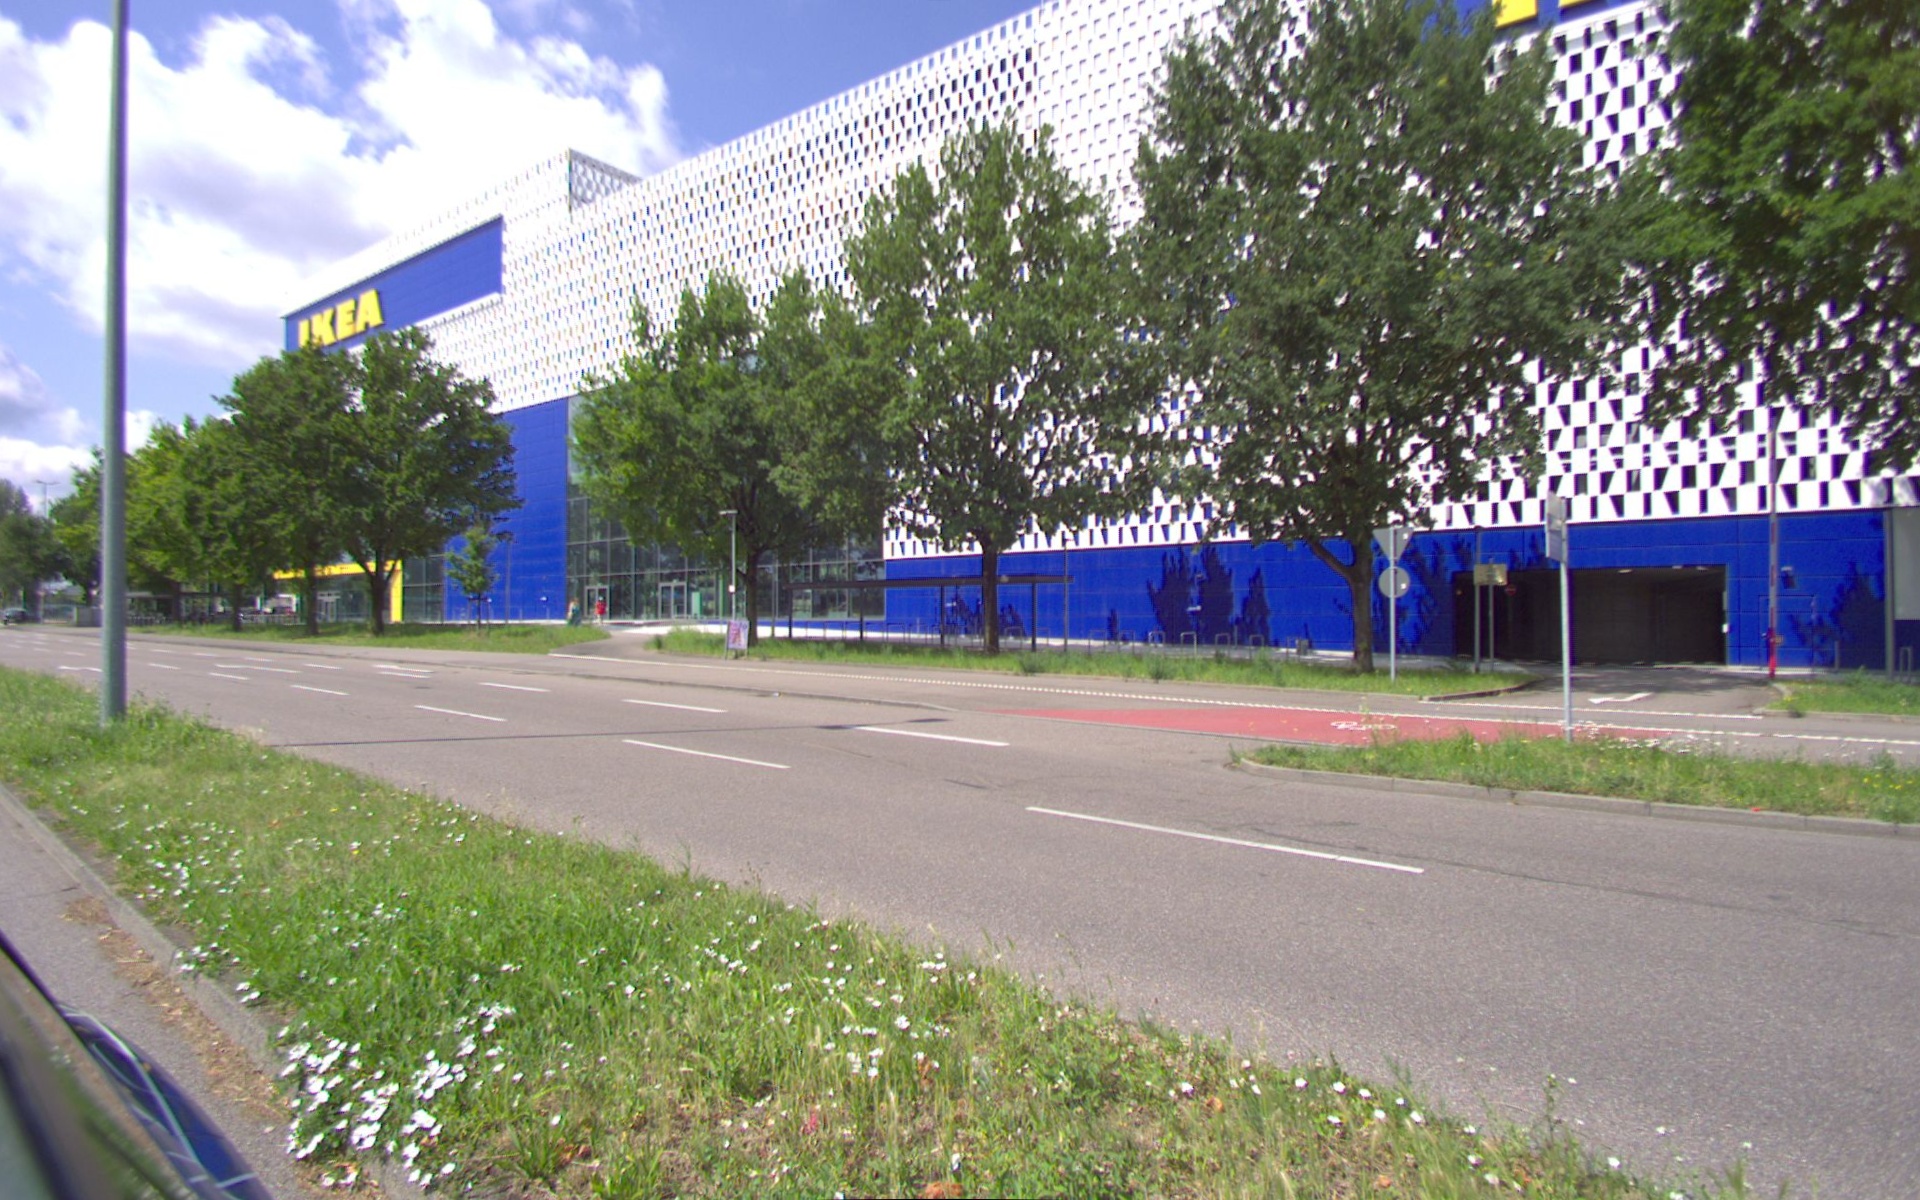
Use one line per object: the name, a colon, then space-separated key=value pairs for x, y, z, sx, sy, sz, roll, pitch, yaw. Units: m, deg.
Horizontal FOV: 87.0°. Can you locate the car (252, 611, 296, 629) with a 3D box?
car: x=-83.517 y=2.417 z=123.230 sx=1.997 sy=2.029 sz=3.949 roll=0 pitch=0 yaw=38

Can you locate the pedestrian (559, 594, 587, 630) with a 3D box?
pedestrian: x=-19.145 y=0.592 z=50.052 sx=1.165 sy=1.741 sz=0.842 roll=0 pitch=0 yaw=43

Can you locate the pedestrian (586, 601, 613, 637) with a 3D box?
pedestrian: x=-18.106 y=0.938 z=50.886 sx=1.165 sy=1.741 sz=0.842 roll=0 pitch=0 yaw=43
